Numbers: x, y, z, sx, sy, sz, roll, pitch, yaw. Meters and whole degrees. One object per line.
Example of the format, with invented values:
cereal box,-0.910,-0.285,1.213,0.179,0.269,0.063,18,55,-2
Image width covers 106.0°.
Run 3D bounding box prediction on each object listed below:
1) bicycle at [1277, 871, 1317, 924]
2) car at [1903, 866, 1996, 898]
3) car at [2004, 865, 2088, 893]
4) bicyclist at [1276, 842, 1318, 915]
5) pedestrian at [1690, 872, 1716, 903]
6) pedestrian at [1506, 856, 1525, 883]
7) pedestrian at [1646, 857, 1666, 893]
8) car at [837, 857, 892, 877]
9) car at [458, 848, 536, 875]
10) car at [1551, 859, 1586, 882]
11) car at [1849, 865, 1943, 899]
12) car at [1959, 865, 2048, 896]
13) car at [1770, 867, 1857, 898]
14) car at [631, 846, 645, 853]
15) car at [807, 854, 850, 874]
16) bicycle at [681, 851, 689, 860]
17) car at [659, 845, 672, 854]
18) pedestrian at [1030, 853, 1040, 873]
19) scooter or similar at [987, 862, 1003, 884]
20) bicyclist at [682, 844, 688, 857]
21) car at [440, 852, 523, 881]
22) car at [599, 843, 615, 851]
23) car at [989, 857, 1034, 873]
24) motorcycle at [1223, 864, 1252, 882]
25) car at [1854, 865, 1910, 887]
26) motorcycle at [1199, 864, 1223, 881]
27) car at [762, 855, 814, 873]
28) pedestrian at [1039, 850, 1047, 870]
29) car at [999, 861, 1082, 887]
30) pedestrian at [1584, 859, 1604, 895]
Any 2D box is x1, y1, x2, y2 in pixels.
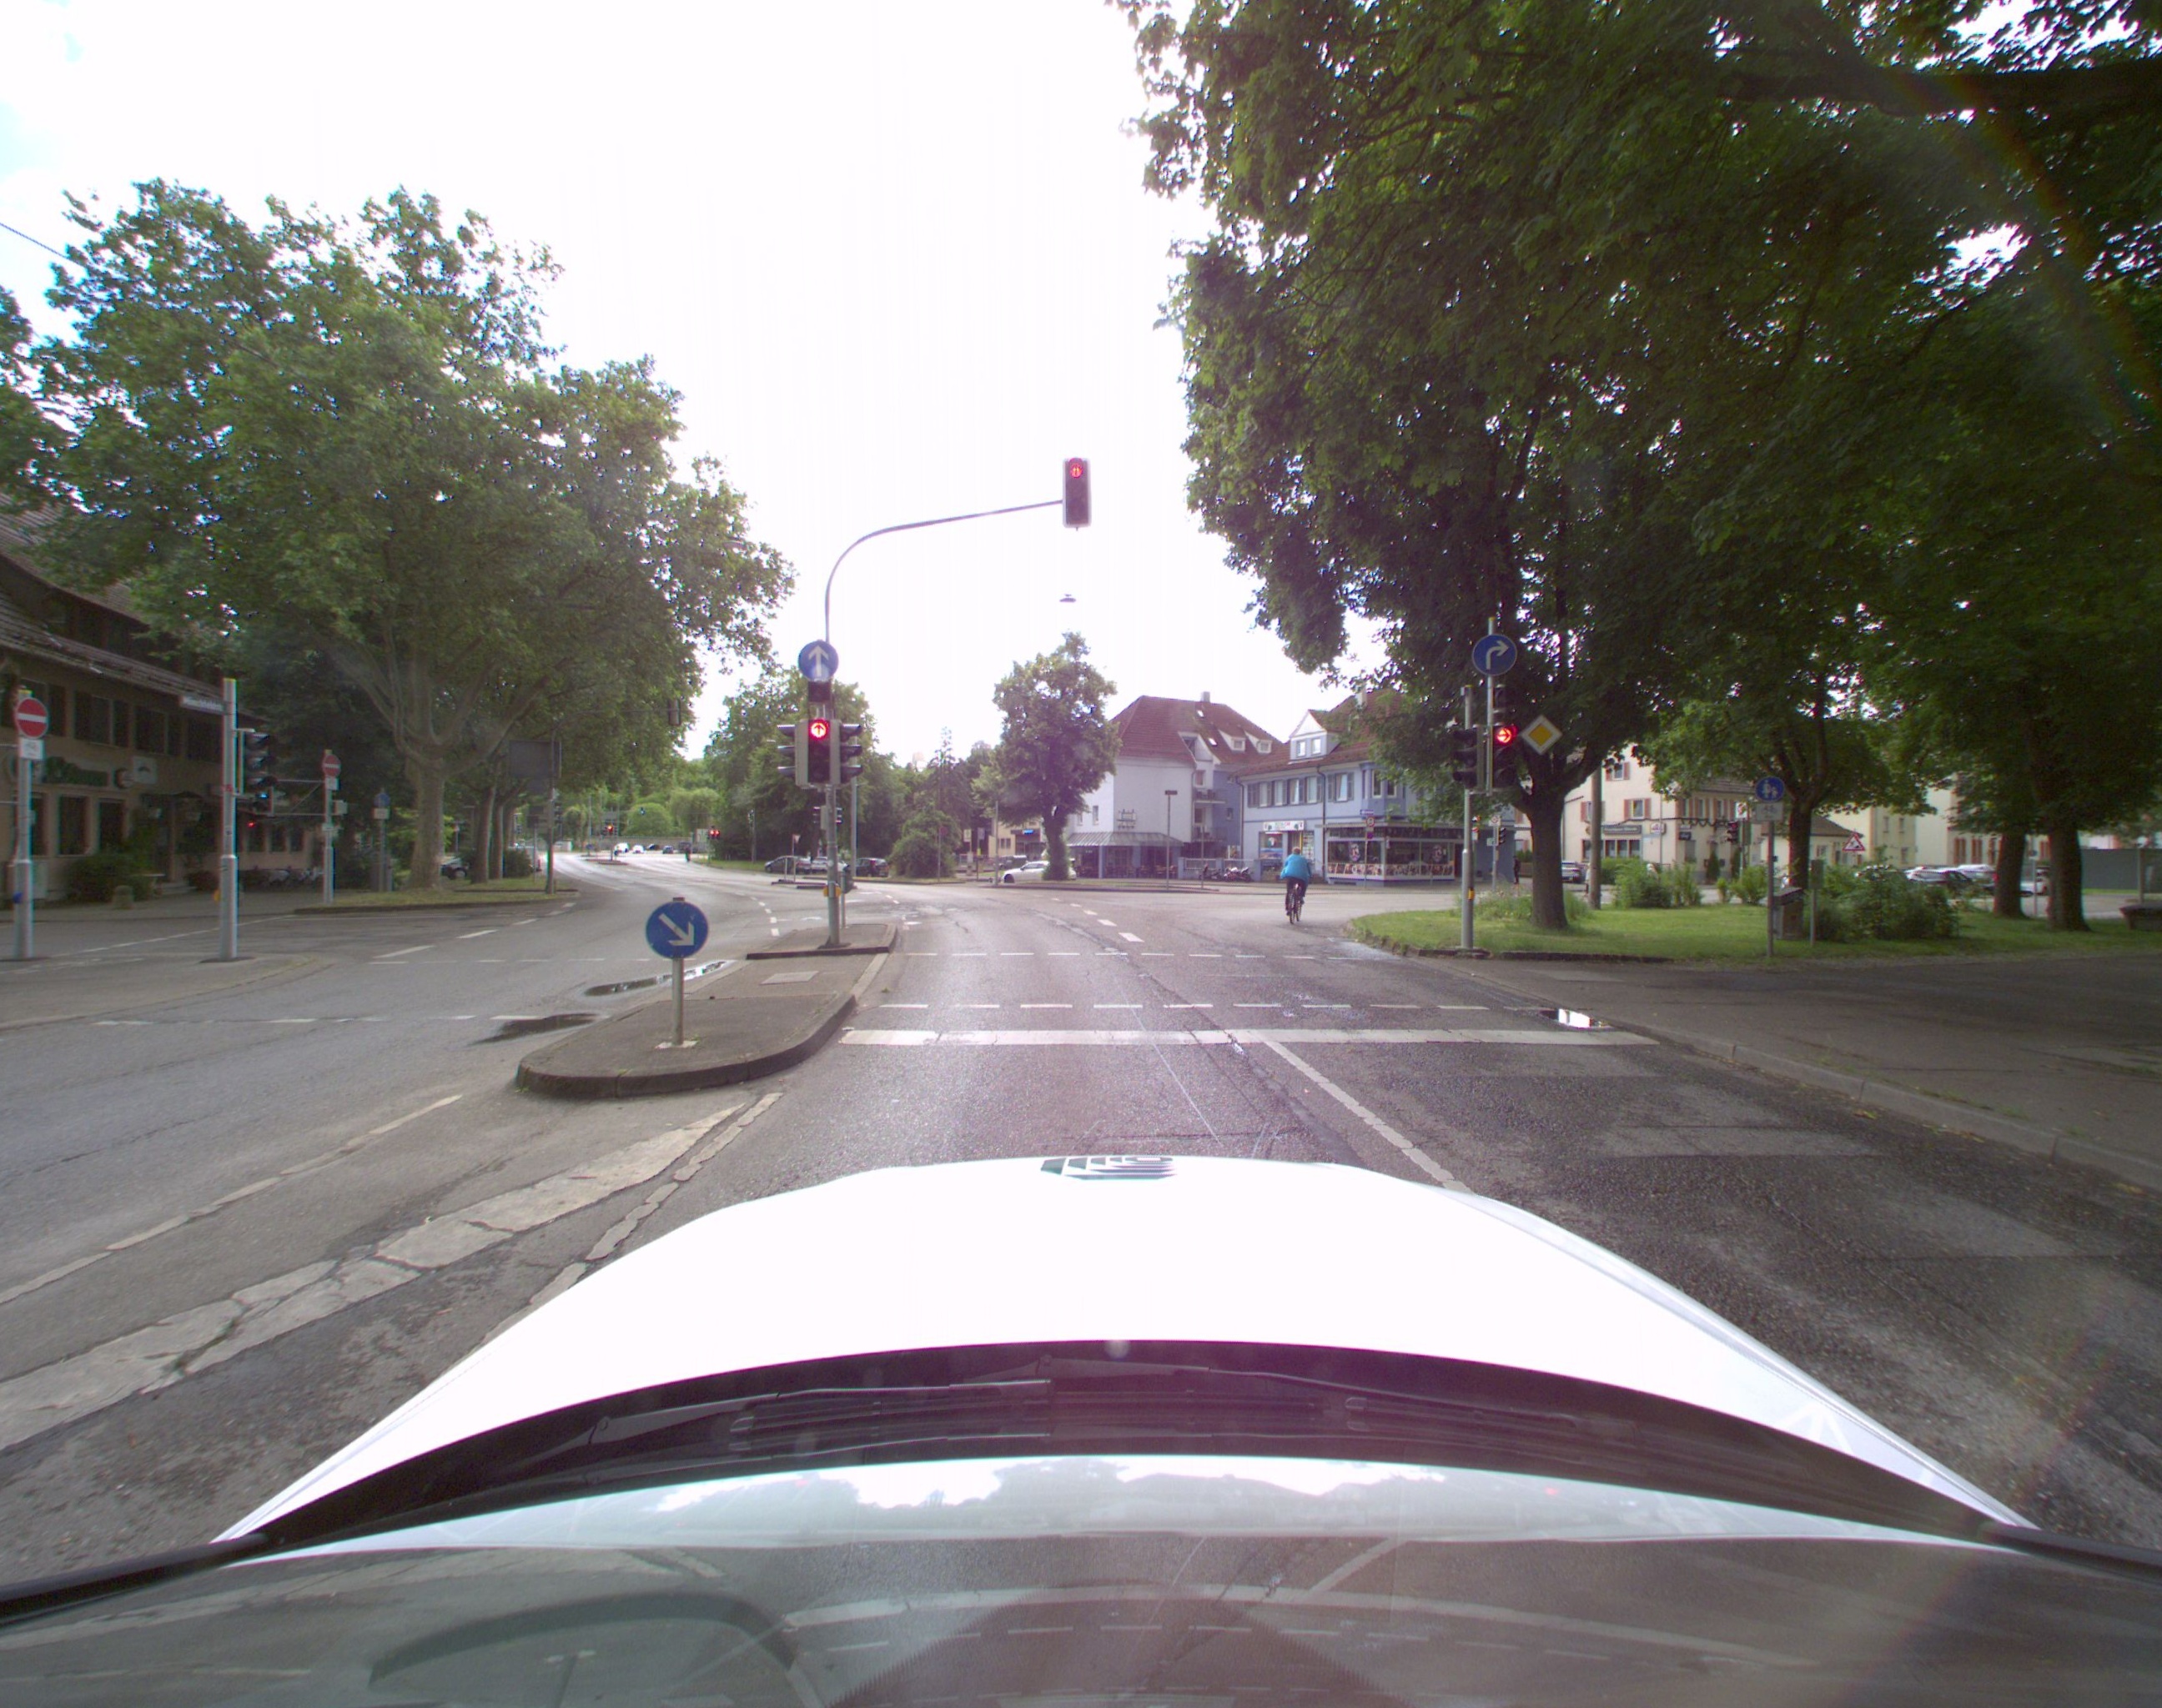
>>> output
bicycle,5.073,0.984,19.202,0.867,1.149,1.960,0,0,14
car,41.728,1.325,39.149,3.732,1.457,1.640,0,0,-18
car,51.904,1.317,43.824,3.732,1.457,1.640,0,0,-18
bicyclist,5.042,0.559,19.057,0.909,1.651,0.992,0,0,13
pedestrian,22.072,1.181,28.904,0.505,1.081,0.514,0,-1,-14
pedestrian,25.549,0.890,47.878,0.671,1.560,0.743,0,-1,-14
pedestrian,25.128,0.921,35.595,0.687,1.560,0.671,-1,-1,32
car,-14.745,0.878,55.424,3.285,1.352,1.791,0,0,28
car,-37.334,0.481,52.210,4.016,1.684,1.979,0,0,-35
car,31.604,1.035,52.840,1.867,1.391,3.637,0,0,30
car,37.311,1.249,37.292,3.471,1.457,1.640,0,0,-18
car,46.433,1.318,40.992,3.732,1.457,1.640,0,0,-18
car,31.435,1.207,34.961,3.008,1.267,1.455,0,0,-18
car,-85.575,-0.875,157.256,2.988,1.417,1.509,-1,-2,42
car,-21.282,0.863,68.716,1.848,1.640,3.767,0,0,12
bicycle,-41.486,0.123,85.325,0.559,0.958,2.014,0,0,-29
car,-80.548,-0.861,157.749,2.006,1.596,3.961,0,-1,-31
pedestrian,-4.700,0.878,82.908,0.838,2.014,1.051,0,0,-13
scooter or similar,-4.681,1.006,44.443,0.439,1.175,1.442,0,0,10
bicyclist,-41.490,-0.385,85.315,0.543,1.342,0.707,0,0,-30
car,-36.461,0.764,49.657,4.016,1.684,1.979,0,0,-35
car,-89.482,-1.364,153.818,3.293,1.486,1.595,-1,-2,42
car,-6.609,1.007,77.477,3.949,1.442,1.741,0,0,-19
motorcycle,9.610,1.190,50.087,1.609,1.088,0.631,-1,-1,33
car,55.558,1.510,56.455,3.872,1.447,1.753,0,-1,-29
motorcycle,8.286,1.172,51.867,1.441,1.088,0.527,-1,-1,36
car,-23.688,0.809,65.783,3.743,1.465,1.629,0,0,19
pedestrian,-2.847,0.450,61.040,0.539,1.560,0.470,-1,-1,14
car,-2.375,1.147,47.569,4.654,1.410,1.914,0,0,36
pedestrian,22.465,0.987,35.667,0.724,1.560,0.773,-1,-1,32
